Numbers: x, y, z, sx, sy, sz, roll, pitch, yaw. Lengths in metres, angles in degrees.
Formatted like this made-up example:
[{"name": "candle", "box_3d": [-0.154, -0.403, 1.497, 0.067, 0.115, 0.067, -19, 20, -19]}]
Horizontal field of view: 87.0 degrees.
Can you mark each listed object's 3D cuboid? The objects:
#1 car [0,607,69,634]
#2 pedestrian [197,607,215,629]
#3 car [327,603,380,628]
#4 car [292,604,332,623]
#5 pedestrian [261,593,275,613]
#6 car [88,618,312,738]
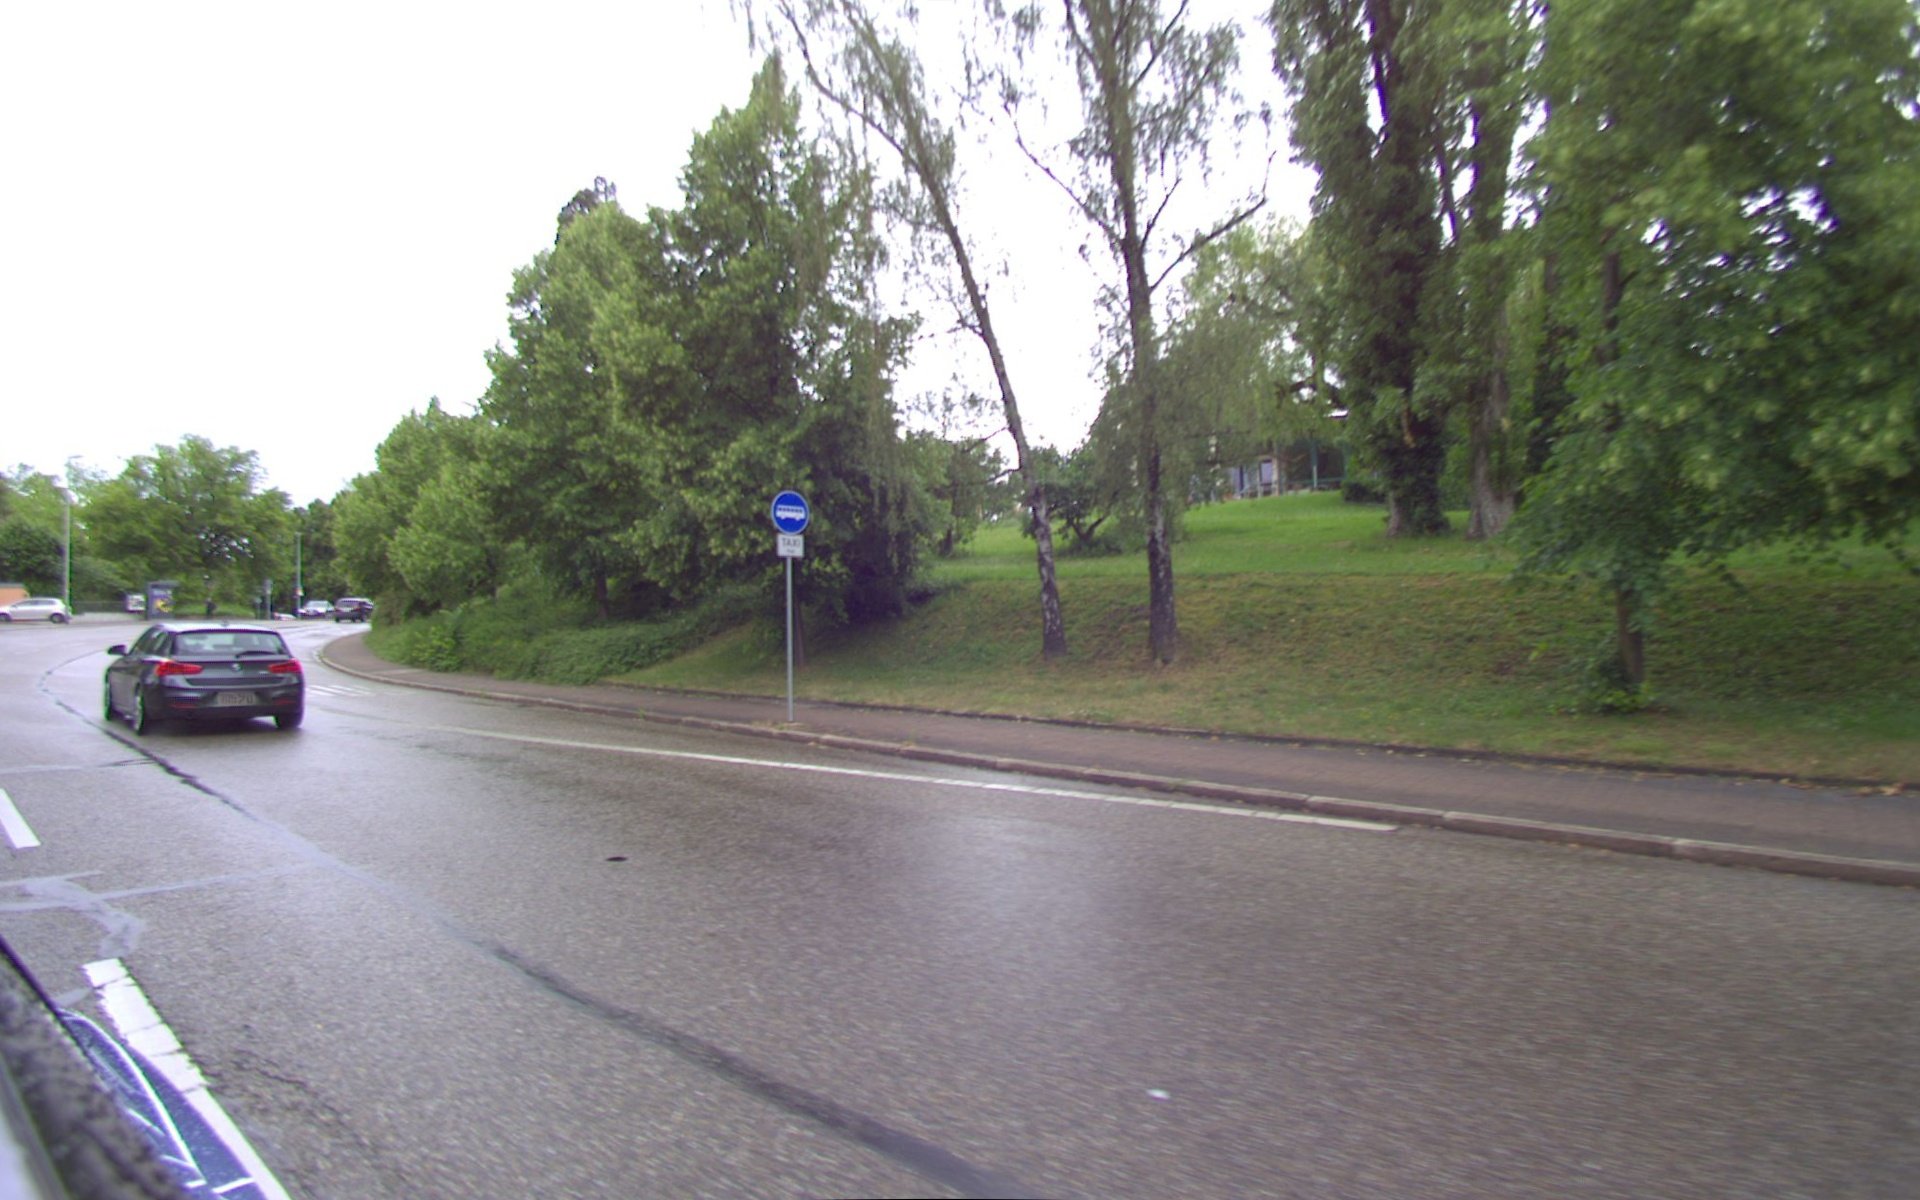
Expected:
[{"name": "car", "box_3d": [-58.336, 1.269, 63.210, 3.807, 1.578, 1.731, 3, -3, -37]}, {"name": "pedestrian", "box_3d": [-59.006, 1.404, 79.234, 0.912, 1.667, 1.101, 1, -1, -27]}, {"name": "car", "box_3d": [-42.157, 1.043, 70.466, 1.786, 1.588, 4.698, 1, 0, -13]}, {"name": "car", "box_3d": [-53.868, 1.131, 84.220, 1.831, 1.425, 4.399, 0, -2, -19]}, {"name": "pedestrian", "box_3d": [-60.374, 0.302, 88.304, 0.713, 1.746, 0.821, 1, -1, -17]}, {"name": "car", "box_3d": [-10.503, 0.986, 13.882, 4.139, 1.394, 1.703, -2, -3, 43]}]
